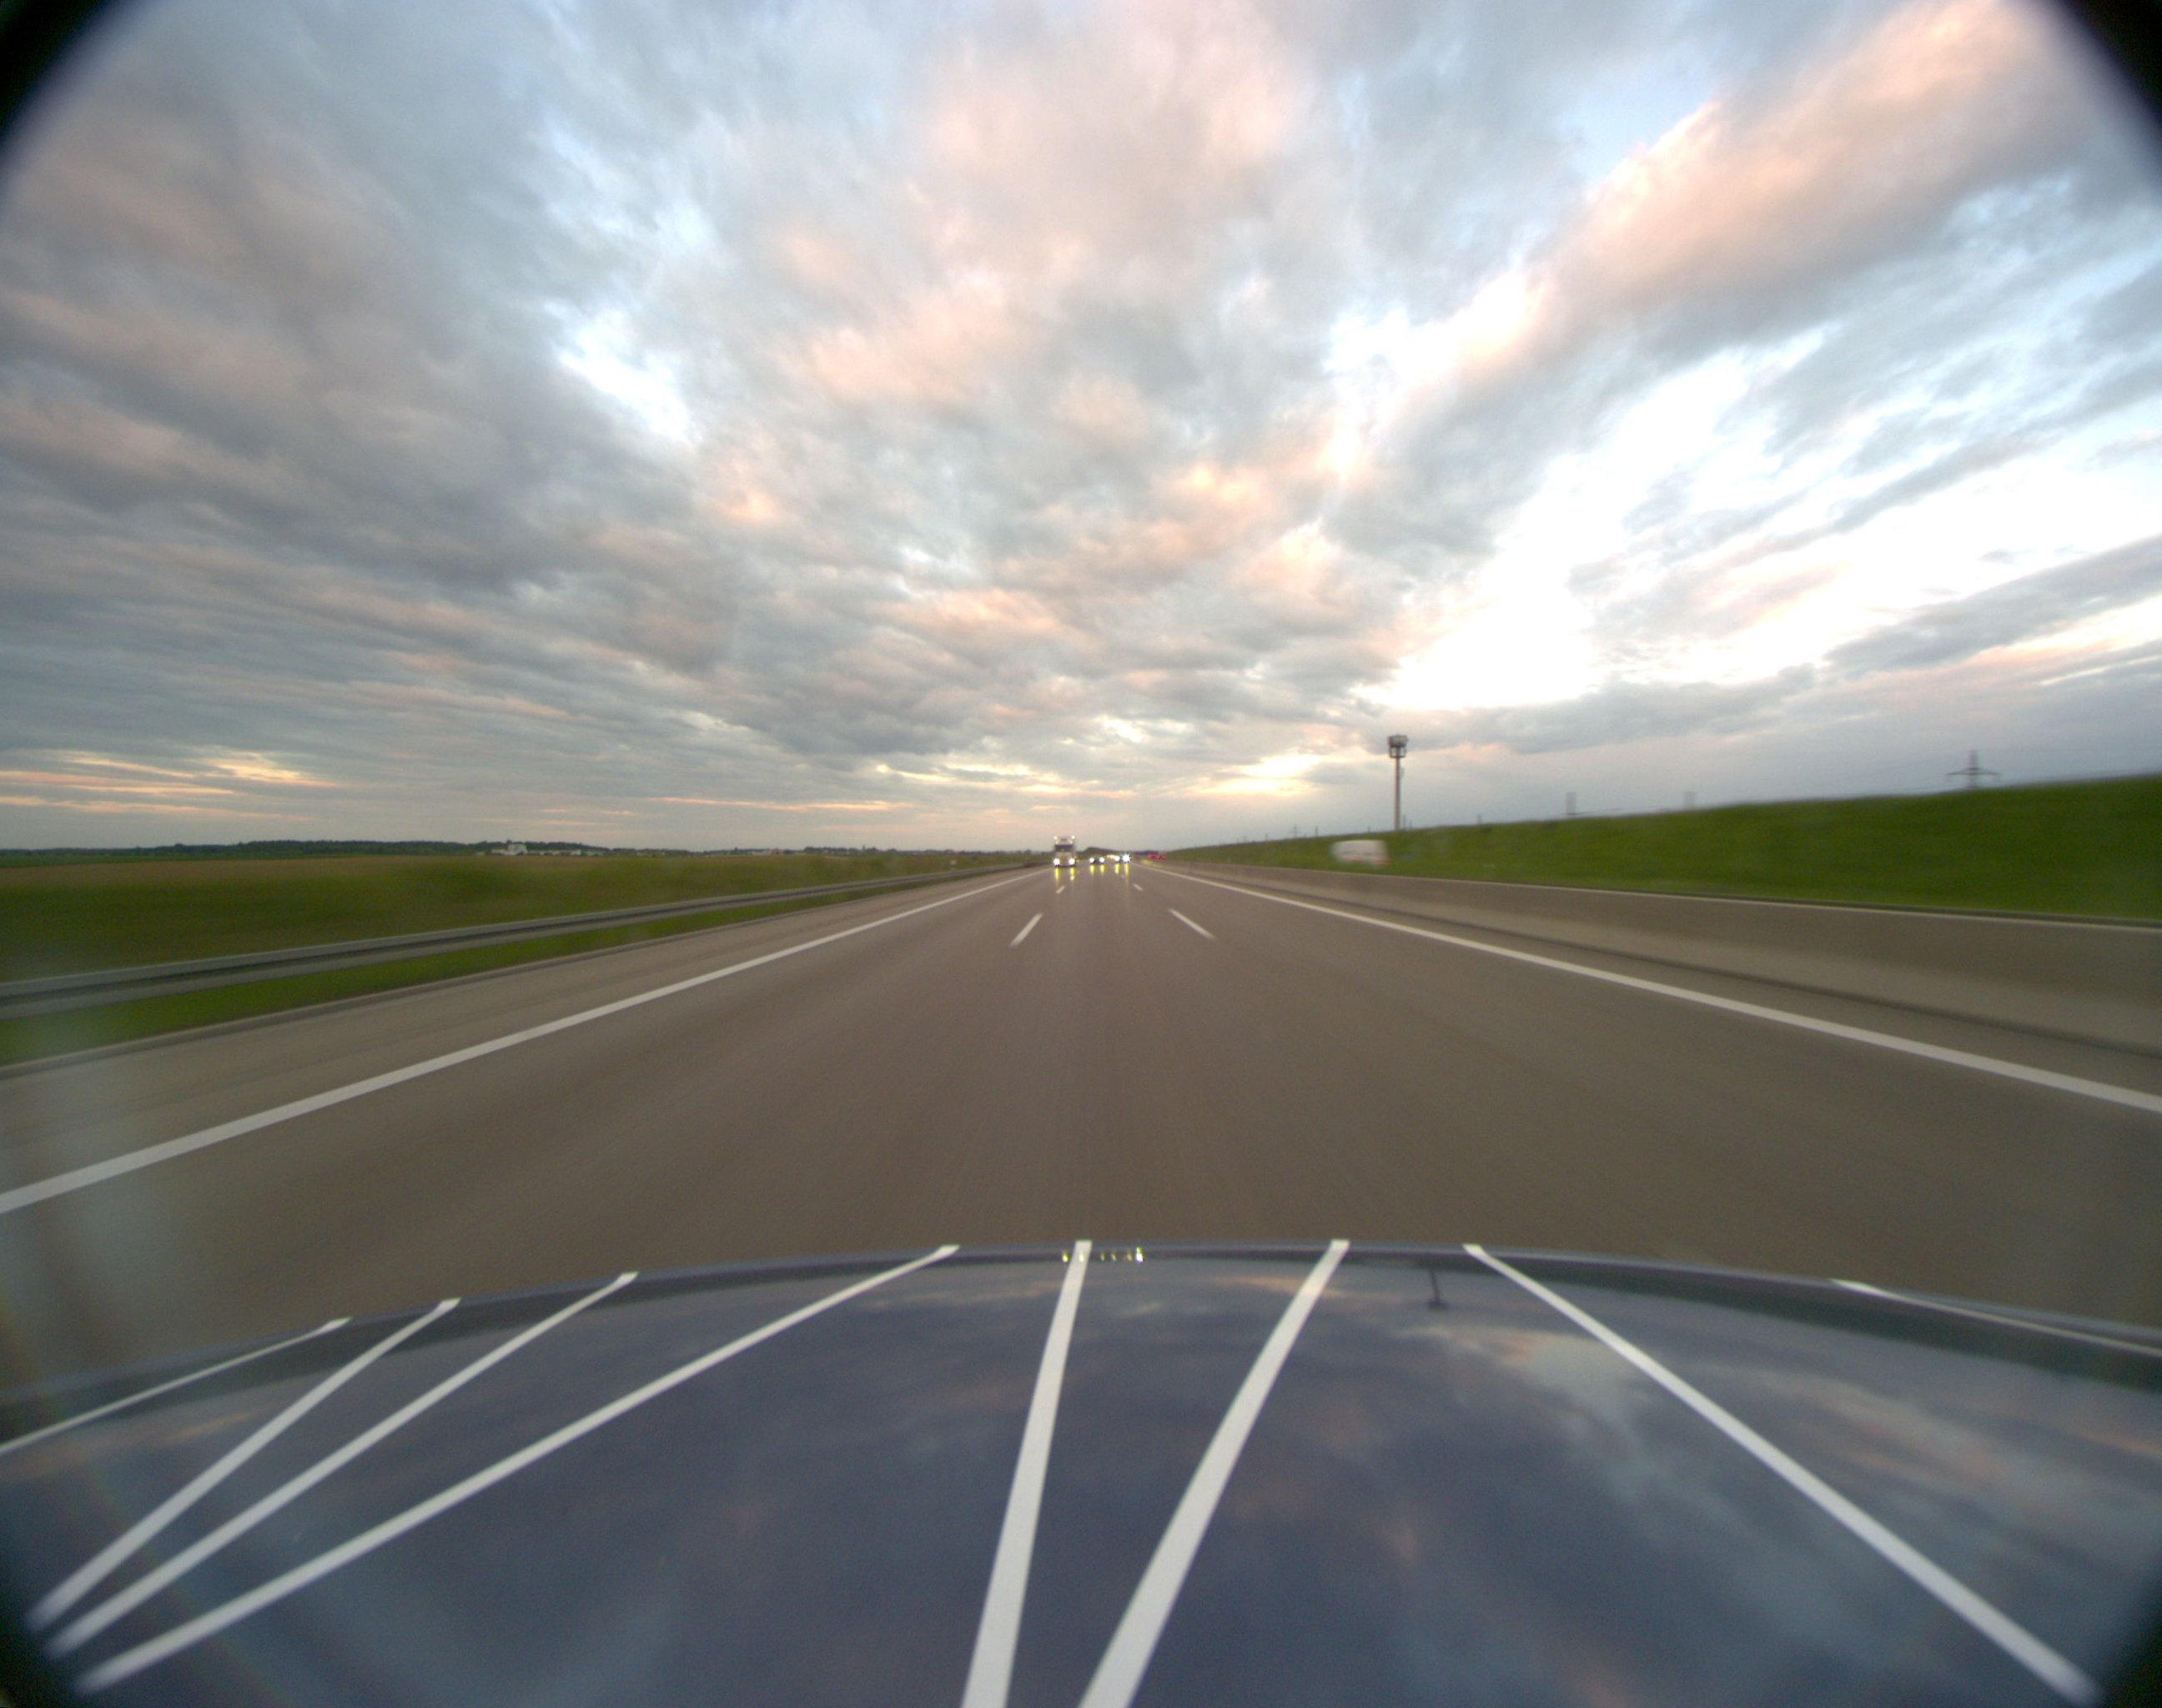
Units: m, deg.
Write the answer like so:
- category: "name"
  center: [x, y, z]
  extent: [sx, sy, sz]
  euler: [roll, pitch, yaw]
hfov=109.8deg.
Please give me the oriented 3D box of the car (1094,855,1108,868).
- category: "car"
  center: [3.052, 1.096, 113.458]
  extent: [1.998, 1.652, 4.851]
  euler: [-2, 1, 2]

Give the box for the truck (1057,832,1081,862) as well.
- category: "truck"
  center: [-1.581, -0.963, 107.503]
  extent: [2.596, 3.999, 12.986]
  euler: [-1, 0, 2]

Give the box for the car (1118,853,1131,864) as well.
- category: "car"
  center: [7.233, 0.671, 126.346]
  extent: [1.998, 1.652, 4.000]
  euler: [-2, 1, 2]

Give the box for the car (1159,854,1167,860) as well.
- category: "car"
  center: [21.450, 0.758, 198.799]
  extent: [1.857, 1.583, 4.106]
  euler: [0, 0, 2]

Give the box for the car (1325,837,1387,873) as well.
- category: "car"
  center: [20.419, 0.076, 56.784]
  extent: [1.998, 2.532, 7.377]
  euler: [0, 0, 0]

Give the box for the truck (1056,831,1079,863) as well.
- category: "truck"
  center: [-1.754, -0.903, 101.206]
  extent: [2.596, 3.999, 5.860]
  euler: [-1, 0, 2]
